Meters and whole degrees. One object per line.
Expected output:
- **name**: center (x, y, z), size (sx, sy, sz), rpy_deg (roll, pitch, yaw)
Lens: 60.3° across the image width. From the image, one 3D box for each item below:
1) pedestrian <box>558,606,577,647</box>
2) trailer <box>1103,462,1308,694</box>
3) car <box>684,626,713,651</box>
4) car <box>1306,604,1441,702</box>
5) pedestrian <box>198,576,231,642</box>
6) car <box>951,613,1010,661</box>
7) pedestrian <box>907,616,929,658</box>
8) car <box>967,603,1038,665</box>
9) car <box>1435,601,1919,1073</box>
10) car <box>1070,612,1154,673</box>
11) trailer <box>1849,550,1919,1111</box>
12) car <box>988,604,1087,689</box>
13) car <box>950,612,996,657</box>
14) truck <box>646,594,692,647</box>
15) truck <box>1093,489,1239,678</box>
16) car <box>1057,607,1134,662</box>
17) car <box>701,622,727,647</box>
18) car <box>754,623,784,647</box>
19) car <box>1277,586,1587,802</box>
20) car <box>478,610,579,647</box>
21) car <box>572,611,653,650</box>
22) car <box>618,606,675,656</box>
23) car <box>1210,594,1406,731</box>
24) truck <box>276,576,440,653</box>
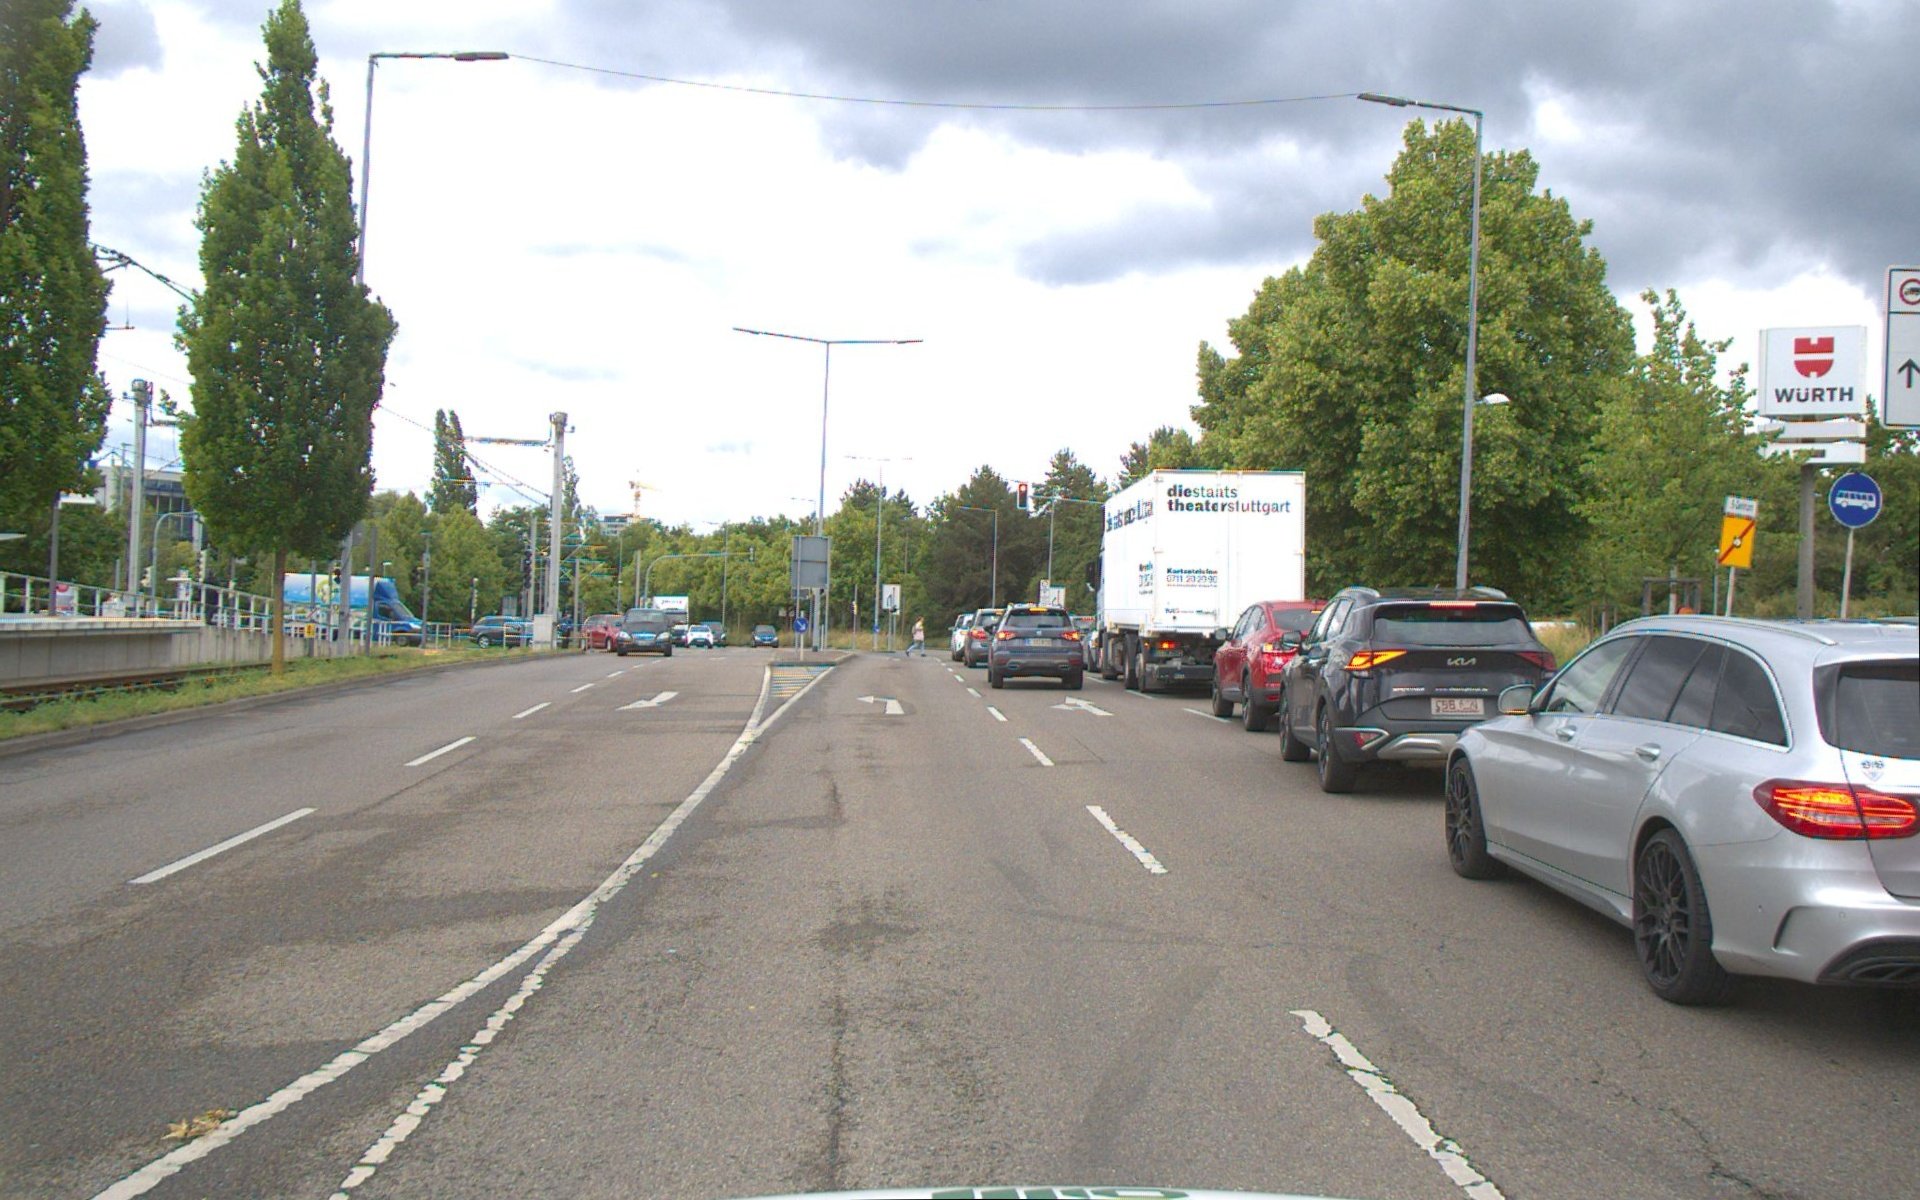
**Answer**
- **pedestrian**: center (-15.388, 1.047, 64.840), size (0.346, 1.583, 0.652), rpy_deg (1, 2, 32)
- **trailer**: center (4.360, -0.335, 30.939), size (2.514, 3.770, 7.761), rpy_deg (0, -1, -1)
- **car**: center (-17.377, 2.534, 109.670), size (1.744, 1.534, 3.737), rpy_deg (2, 0, -11)
- **car**: center (7.536, 0.934, 30.403), size (1.539, 1.598, 3.058), rpy_deg (2, 0, -3)
- **pedestrian**: center (-21.181, 0.257, 46.999), size (0.561, 1.860, 0.792), rpy_deg (1, -1, -6)
- **car**: center (0.617, 1.186, 53.076), size (1.687, 1.447, 4.354), rpy_deg (0, -1, -2)
- **pedestrian**: center (-1.639, 1.438, 64.488), size (0.847, 1.587, 0.518), rpy_deg (0, 1, -4)
- **car**: center (1.091, 0.868, 44.016), size (1.762, 1.550, 4.187), rpy_deg (0, 0, 0)
- **car**: center (3.543, 0.754, 7.423), size (1.637, 1.473, 4.490), rpy_deg (1, 0, 2)
- **car**: center (3.739, 1.013, 41.220), size (1.774, 1.378, 4.119), rpy_deg (0, 0, 1)
- **trailer**: center (3.440, 0.680, 3.523), size (1.380, 1.622, 3.304), rpy_deg (1, 0, 2)
- **car**: center (1.417, 0.857, 31.650), size (1.663, 1.512, 3.999), rpy_deg (0, -1, -1)
- **car**: center (0.449, 1.209, 58.154), size (1.504, 1.531, 2.669), rpy_deg (0, -1, -2)
- **truck**: center (-21.618, 1.487, 122.616), size (2.615, 3.713, 9.466), rpy_deg (2, -1, -14)
- **truck**: center (4.285, -0.303, 35.097), size (2.519, 3.771, 4.105), rpy_deg (0, -1, -1)
- **car**: center (3.865, 0.955, 47.698), size (1.788, 1.460, 4.212), rpy_deg (0, 0, -1)
- **car**: center (-18.276, 2.520, 122.805), size (1.881, 1.758, 3.991), rpy_deg (0, 0, -10)
- **car**: center (-13.483, 2.471, 116.653), size (1.880, 1.604, 3.992), rpy_deg (0, 0, -9)
- **car**: center (3.913, 0.686, 14.453), size (1.805, 1.588, 4.407), rpy_deg (0, 0, 5)
- **car**: center (-19.368, 1.279, 74.349), size (3.902, 1.624, 2.002), rpy_deg (0, 0, 7)
- **car**: center (-14.822, 1.289, 70.470), size (1.692, 1.514, 4.027), rpy_deg (0, 1, -40)
- **car**: center (-10.535, 1.047, 55.811), size (1.693, 1.601, 3.700), rpy_deg (0, -1, -8)
- **car**: center (4.310, 0.729, 21.089), size (1.672, 1.551, 4.320), rpy_deg (1, 0, 1)
- **truck**: center (-29.583, 0.696, 81.454), size (7.097, 3.661, 2.690), rpy_deg (0, 2, -5)
